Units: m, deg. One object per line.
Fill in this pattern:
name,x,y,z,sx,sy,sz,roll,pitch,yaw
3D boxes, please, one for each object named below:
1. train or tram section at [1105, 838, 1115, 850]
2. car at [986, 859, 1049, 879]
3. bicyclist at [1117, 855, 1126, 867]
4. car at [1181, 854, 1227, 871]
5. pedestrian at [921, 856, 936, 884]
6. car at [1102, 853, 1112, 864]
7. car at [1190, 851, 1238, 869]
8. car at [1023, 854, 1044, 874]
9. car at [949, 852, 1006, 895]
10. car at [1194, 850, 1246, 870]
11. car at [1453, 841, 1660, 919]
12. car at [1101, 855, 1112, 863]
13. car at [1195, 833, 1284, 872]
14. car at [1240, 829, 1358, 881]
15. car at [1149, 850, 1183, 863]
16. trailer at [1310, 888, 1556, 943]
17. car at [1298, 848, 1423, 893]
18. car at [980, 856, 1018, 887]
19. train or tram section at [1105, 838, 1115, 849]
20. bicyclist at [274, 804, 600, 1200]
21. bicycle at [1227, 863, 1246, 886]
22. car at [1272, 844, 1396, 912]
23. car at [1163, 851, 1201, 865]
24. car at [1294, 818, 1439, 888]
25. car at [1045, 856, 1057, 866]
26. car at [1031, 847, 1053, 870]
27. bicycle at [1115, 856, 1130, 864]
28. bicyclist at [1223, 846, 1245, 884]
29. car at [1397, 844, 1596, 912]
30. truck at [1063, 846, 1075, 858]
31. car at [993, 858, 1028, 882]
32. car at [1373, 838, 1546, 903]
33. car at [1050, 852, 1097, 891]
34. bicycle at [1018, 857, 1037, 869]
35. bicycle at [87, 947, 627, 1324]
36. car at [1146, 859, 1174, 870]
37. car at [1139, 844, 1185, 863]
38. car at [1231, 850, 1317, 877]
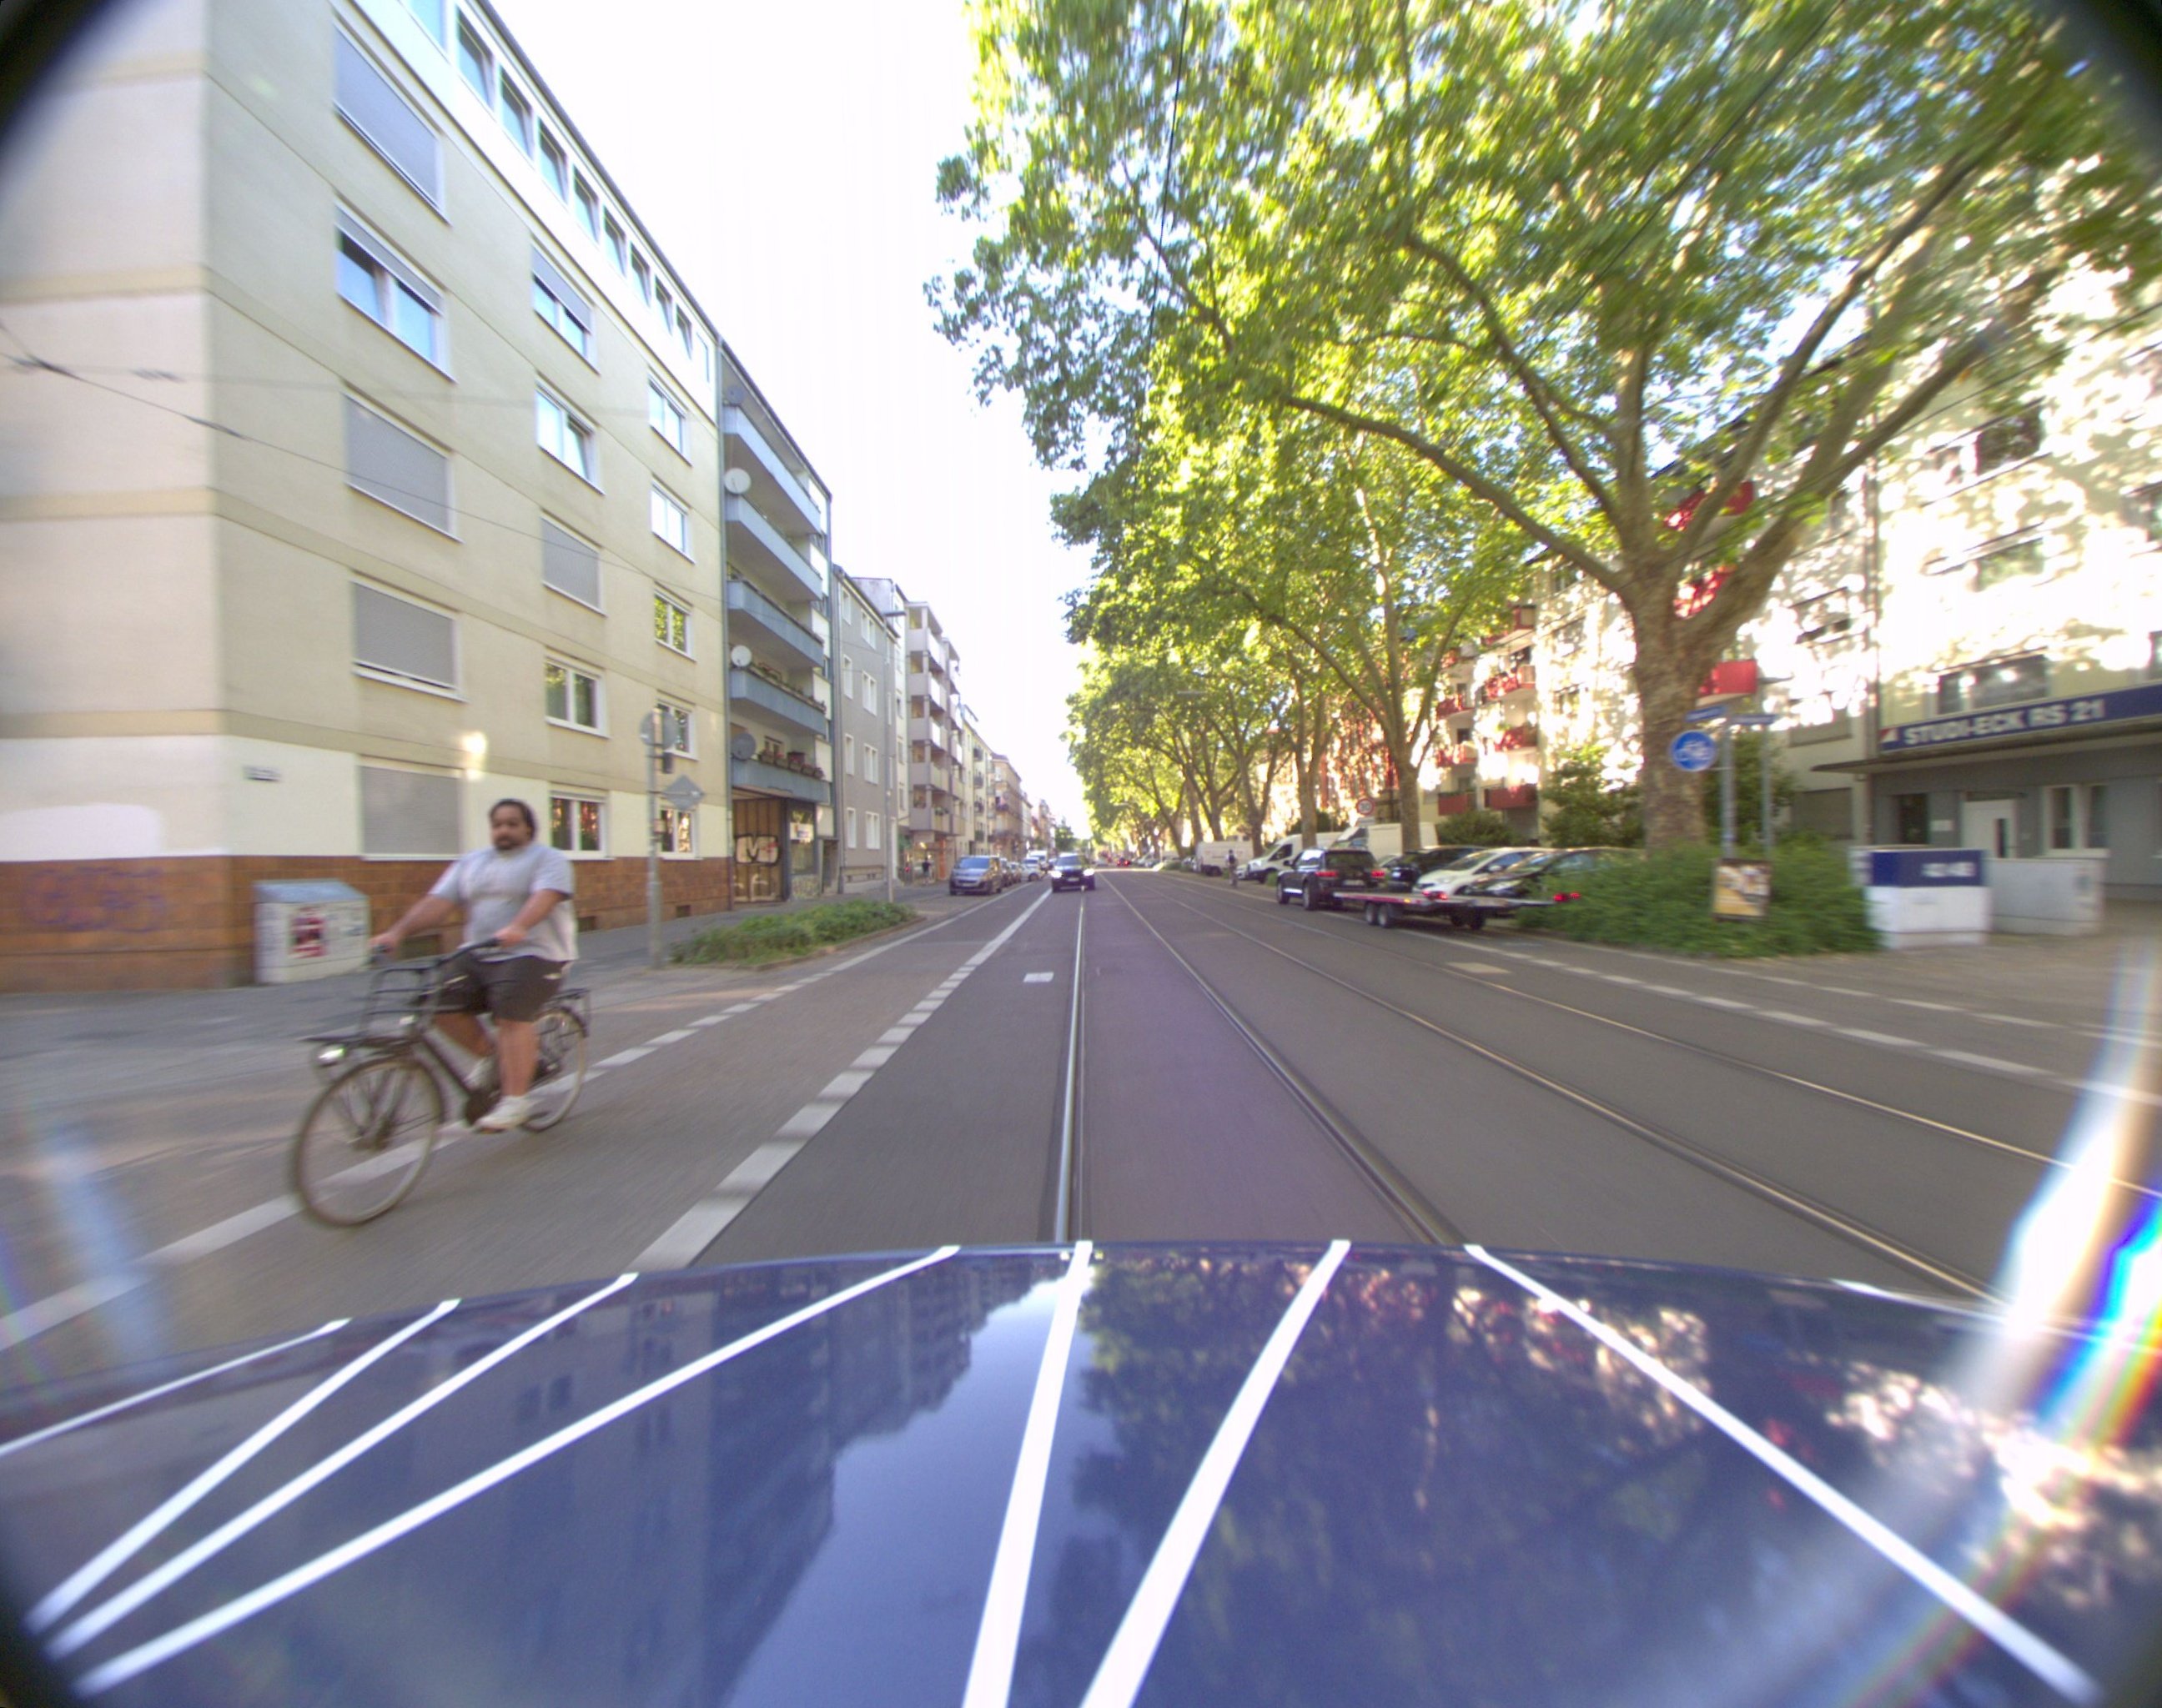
train or tram section,9.285,-3.339,244.291,2.944,3.598,11.062,-4,1,2
car,-4.831,1.131,57.650,4.629,1.429,1.863,0,0,-10
bicyclist,5.345,0.964,100.469,0.870,1.517,0.735,-2,0,-20
car,12.086,0.817,74.733,4.000,1.452,1.769,-2,0,-9
pedestrian,-9.354,0.964,46.594,0.758,1.710,0.720,-2,1,-1
car,5.538,0.999,160.804,1.922,2.214,4.961,-1,0,3
car,11.508,0.522,65.814,3.802,1.452,1.704,-2,0,1
car,-4.779,1.010,77.103,1.863,1.810,4.350,1,1,0
car,-4.906,0.888,36.726,1.863,1.879,4.925,-2,0,2
car,11.528,0.472,63.044,3.997,1.487,1.830,-2,0,1
car,10.338,0.540,16.698,3.440,1.521,1.787,-2,0,-2
car,4.380,0.807,132.183,1.722,1.351,4.469,-2,0,-1
car,11.164,-0.096,53.708,5.755,2.521,2.162,-2,0,1
car,11.088,0.041,38.916,5.373,2.463,2.057,-2,1,1
car,11.884,0.394,106.407,4.331,1.702,1.816,-2,0,-3
trailer,6.827,1.176,15.855,2.166,0.628,6.399,0,0,0
car,10.200,0.576,27.916,3.864,1.469,1.860,-2,0,-1
car,-4.854,0.983,45.543,1.771,1.695,4.282,-2,0,0
train or tram section,9.622,-3.514,255.444,2.944,3.598,11.258,-4,1,2
bicyclist,-3.165,0.664,3.855,0.788,1.749,0.914,-2,1,0
bicycle,7.144,0.929,35.049,0.521,0.956,1.929,-2,0,2
car,6.900,0.598,21.280,1.998,1.690,4.484,0,0,0
car,11.171,0.465,84.284,3.997,1.452,1.879,-2,0,0
car,11.328,-0.056,30.337,4.957,2.552,2.081,-2,1,-4
car,-4.244,1.021,108.449,1.653,1.412,4.059,0,1,-1
car,-4.486,0.530,87.837,2.154,2.481,6.087,-2,0,0
bicycle,5.541,0.840,100.545,1.878,1.025,0.627,-2,0,-20
bicyclist,7.012,0.500,34.932,0.786,1.668,0.957,-2,1,0
car,10.336,0.571,19.110,3.997,1.513,1.771,-2,0,-1
truck,-3.328,-0.605,211.349,2.842,3.145,7.291,-4,1,0
car,-4.817,1.081,52.383,1.728,1.516,4.513,-2,0,2
car,10.772,0.448,21.822,3.997,1.637,1.894,-2,0,-1
car,-0.299,0.777,36.409,1.948,1.694,4.631,-2,0,2
bicycle,-4.795,0.812,68.567,1.657,1.049,0.457,0,1,0
bicycle,-3.256,1.162,3.791,0.703,1.086,1.990,-4,1,0
car,11.309,1.497,109.240,3.779,1.509,1.747,-2,0,-3
car,12.315,-0.058,115.534,6.618,2.393,2.000,-4,0,1
car,11.086,0.551,43.891,4.421,1.376,1.933,-2,0,0
